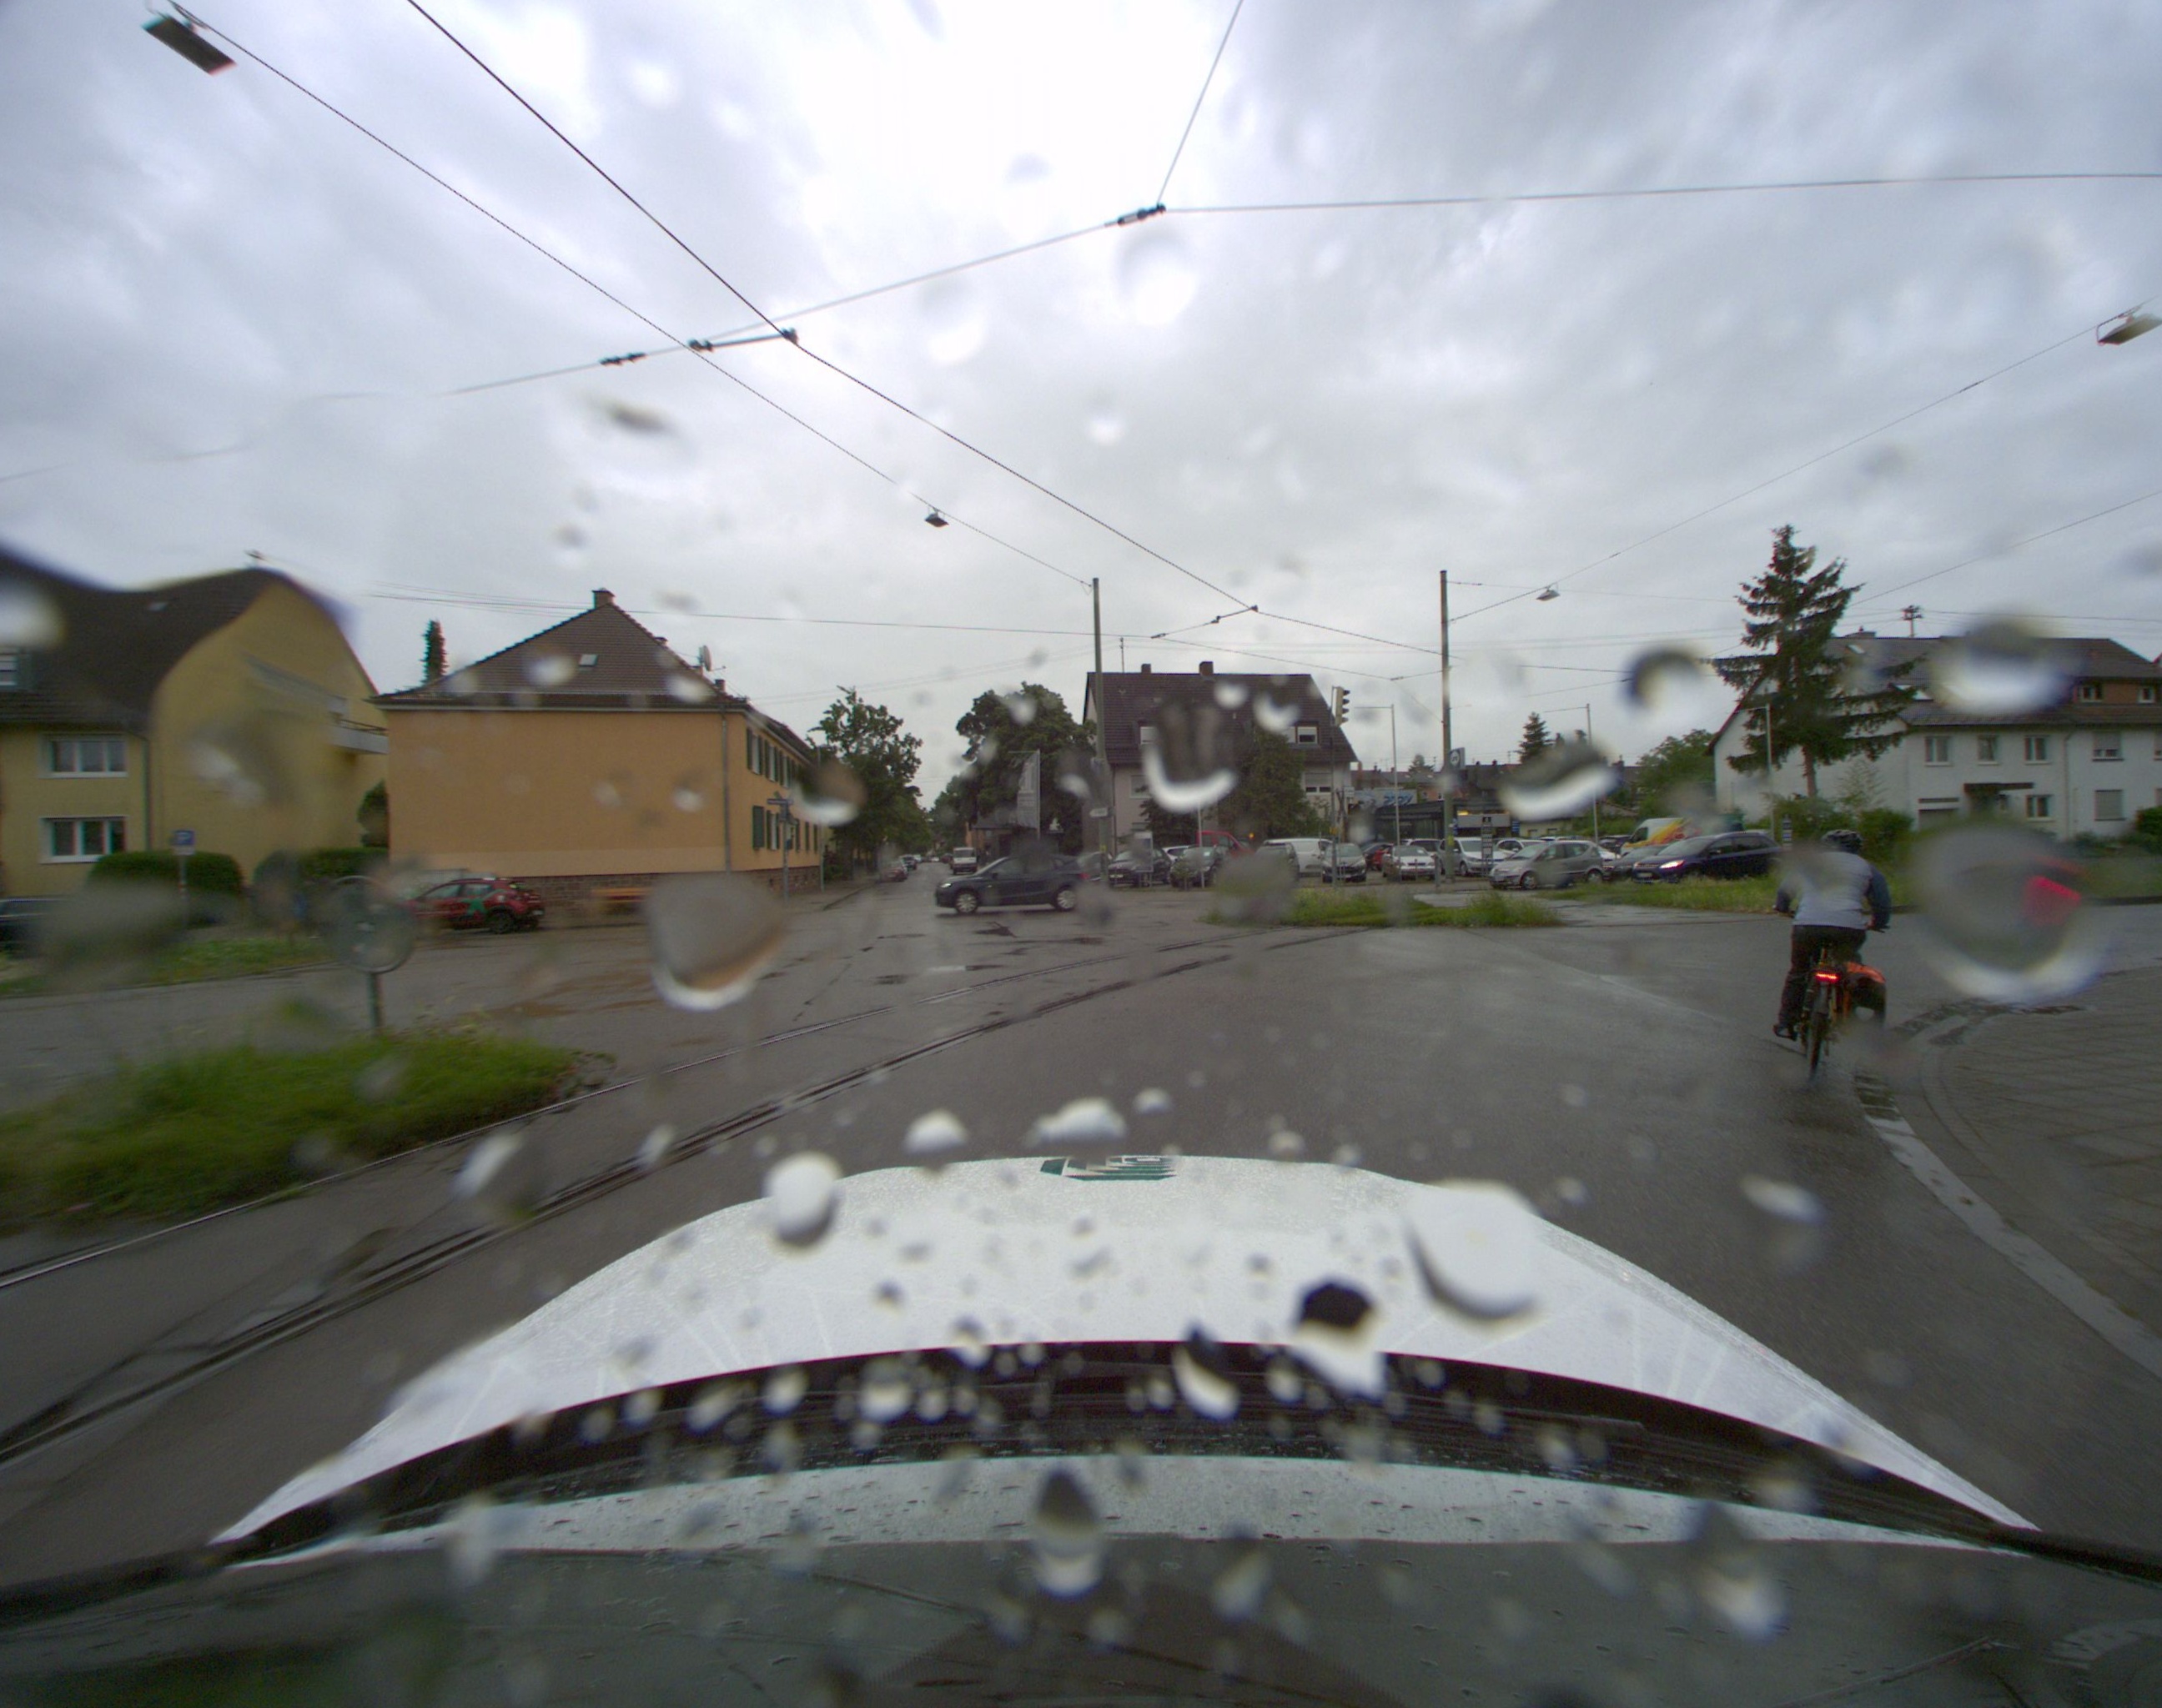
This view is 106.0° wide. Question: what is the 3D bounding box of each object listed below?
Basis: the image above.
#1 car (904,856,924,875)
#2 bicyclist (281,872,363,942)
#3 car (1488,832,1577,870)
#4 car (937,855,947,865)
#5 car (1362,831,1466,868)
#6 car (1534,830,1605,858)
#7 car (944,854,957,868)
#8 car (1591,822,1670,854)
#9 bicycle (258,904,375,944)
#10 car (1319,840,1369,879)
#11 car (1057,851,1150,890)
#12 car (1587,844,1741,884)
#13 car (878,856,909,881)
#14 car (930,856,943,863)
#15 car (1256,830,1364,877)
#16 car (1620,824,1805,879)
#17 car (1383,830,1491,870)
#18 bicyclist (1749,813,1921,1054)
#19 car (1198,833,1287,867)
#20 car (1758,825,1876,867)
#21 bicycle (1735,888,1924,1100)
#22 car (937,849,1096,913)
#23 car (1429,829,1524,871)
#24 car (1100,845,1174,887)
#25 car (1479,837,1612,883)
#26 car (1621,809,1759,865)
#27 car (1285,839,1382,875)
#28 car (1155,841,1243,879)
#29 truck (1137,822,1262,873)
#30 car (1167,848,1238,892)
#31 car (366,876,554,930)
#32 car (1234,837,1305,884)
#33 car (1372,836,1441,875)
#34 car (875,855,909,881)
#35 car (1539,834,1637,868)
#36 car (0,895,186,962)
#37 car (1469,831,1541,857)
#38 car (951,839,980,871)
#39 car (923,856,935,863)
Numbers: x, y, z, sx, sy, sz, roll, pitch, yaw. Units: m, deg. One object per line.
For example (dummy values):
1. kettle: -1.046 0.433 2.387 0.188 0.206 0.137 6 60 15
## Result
1. car: -18.341 1.269 89.649 1.993 2.014 3.988 0 0 -9
2. bicyclist: -18.408 1.261 19.776 1.039 1.598 0.946 -3 0 -10
3. car: 19.483 -0.112 35.306 1.714 1.573 3.611 0 0 -5
4. car: -28.784 1.206 168.558 1.829 2.014 3.985 0 0 -11
5. car: 16.862 -0.212 41.329 4.427 1.687 1.995 -2 -1 -7
6. car: 30.203 -0.609 50.302 4.461 1.580 1.776 -2 -1 -30
7. car: -19.829 1.042 123.866 1.829 2.014 3.985 0 0 -11
8. car: 30.363 -0.887 45.012 4.413 1.580 1.847 -2 -1 -30
9. bicycle: -18.500 1.677 19.758 1.814 0.786 0.939 -3 0 -10
10. car: 10.853 0.209 33.470 1.812 1.504 4.078 0 0 20
11. car: 1.035 0.725 37.529 3.882 1.578 1.791 -3 0 -28
12. car: 20.137 0.350 28.181 4.371 1.339 1.718 0 0 -8
13. car: -13.758 1.050 59.990 1.994 1.750 3.985 -2 -1 -10
14. car: -33.116 1.268 186.351 1.837 1.697 3.998 0 0 -25
15. car: 10.669 -0.006 38.126 4.427 2.014 1.995 -2 -1 -7
16. car: 19.327 -0.054 25.017 4.558 1.605 1.993 0 0 -10
17. car: 16.952 -0.184 38.857 4.427 1.687 1.756 -2 -1 -7
18. bicyclist: 5.186 0.491 5.598 0.851 1.485 0.744 -3 0 -42
19. car: 8.868 -0.218 44.947 4.427 1.687 1.995 -2 -1 -7
20. car: 33.677 -0.378 37.313 3.881 1.564 1.994 -5 1 -9
21. bicycle: 5.139 0.833 5.540 1.938 1.073 0.746 -3 0 -42
22. car: -1.751 0.673 21.611 3.987 1.476 1.993 -2 0 -10
23. car: 16.626 -0.150 34.468 1.800 1.578 3.863 -2 0 -7
24. car: 2.392 0.464 34.079 1.785 1.578 3.894 -2 0 24
25. car: 15.655 0.204 27.552 3.628 1.504 1.719 0 0 -7
26. car: 28.020 -0.732 37.734 2.144 2.406 5.134 0 0 -8
27. car: 13.379 0.171 43.273 4.427 1.687 1.995 -2 -1 -7
28. car: 5.600 0.288 38.467 3.940 1.598 2.006 -2 -1 11
29. truck: 6.042 -0.307 41.420 6.043 2.272 2.006 -2 -1 11
30. car: 4.996 0.627 33.018 1.785 1.578 3.894 -2 0 24
31. car: -16.619 1.283 21.972 3.607 1.339 1.716 0 0 -11
32. car: 7.714 0.223 33.062 1.975 1.717 4.023 -2 0 24
33. car: 13.435 0.078 33.830 1.817 1.504 4.069 0 0 9
34. car: -12.802 0.925 55.297 1.994 1.618 3.985 -2 0 -10
35. car: 22.109 -0.114 35.689 1.714 1.396 3.835 0 0 -5
36. car: -25.462 1.816 19.899 4.492 1.396 1.960 -1 0 -11
37. car: 25.354 -0.545 48.844 1.782 1.498 3.985 0 0 -11
38. car: -9.694 0.118 68.087 2.154 2.572 4.118 0 0 -11
39. car: -35.644 1.281 191.435 1.837 1.697 3.998 0 0 -25
